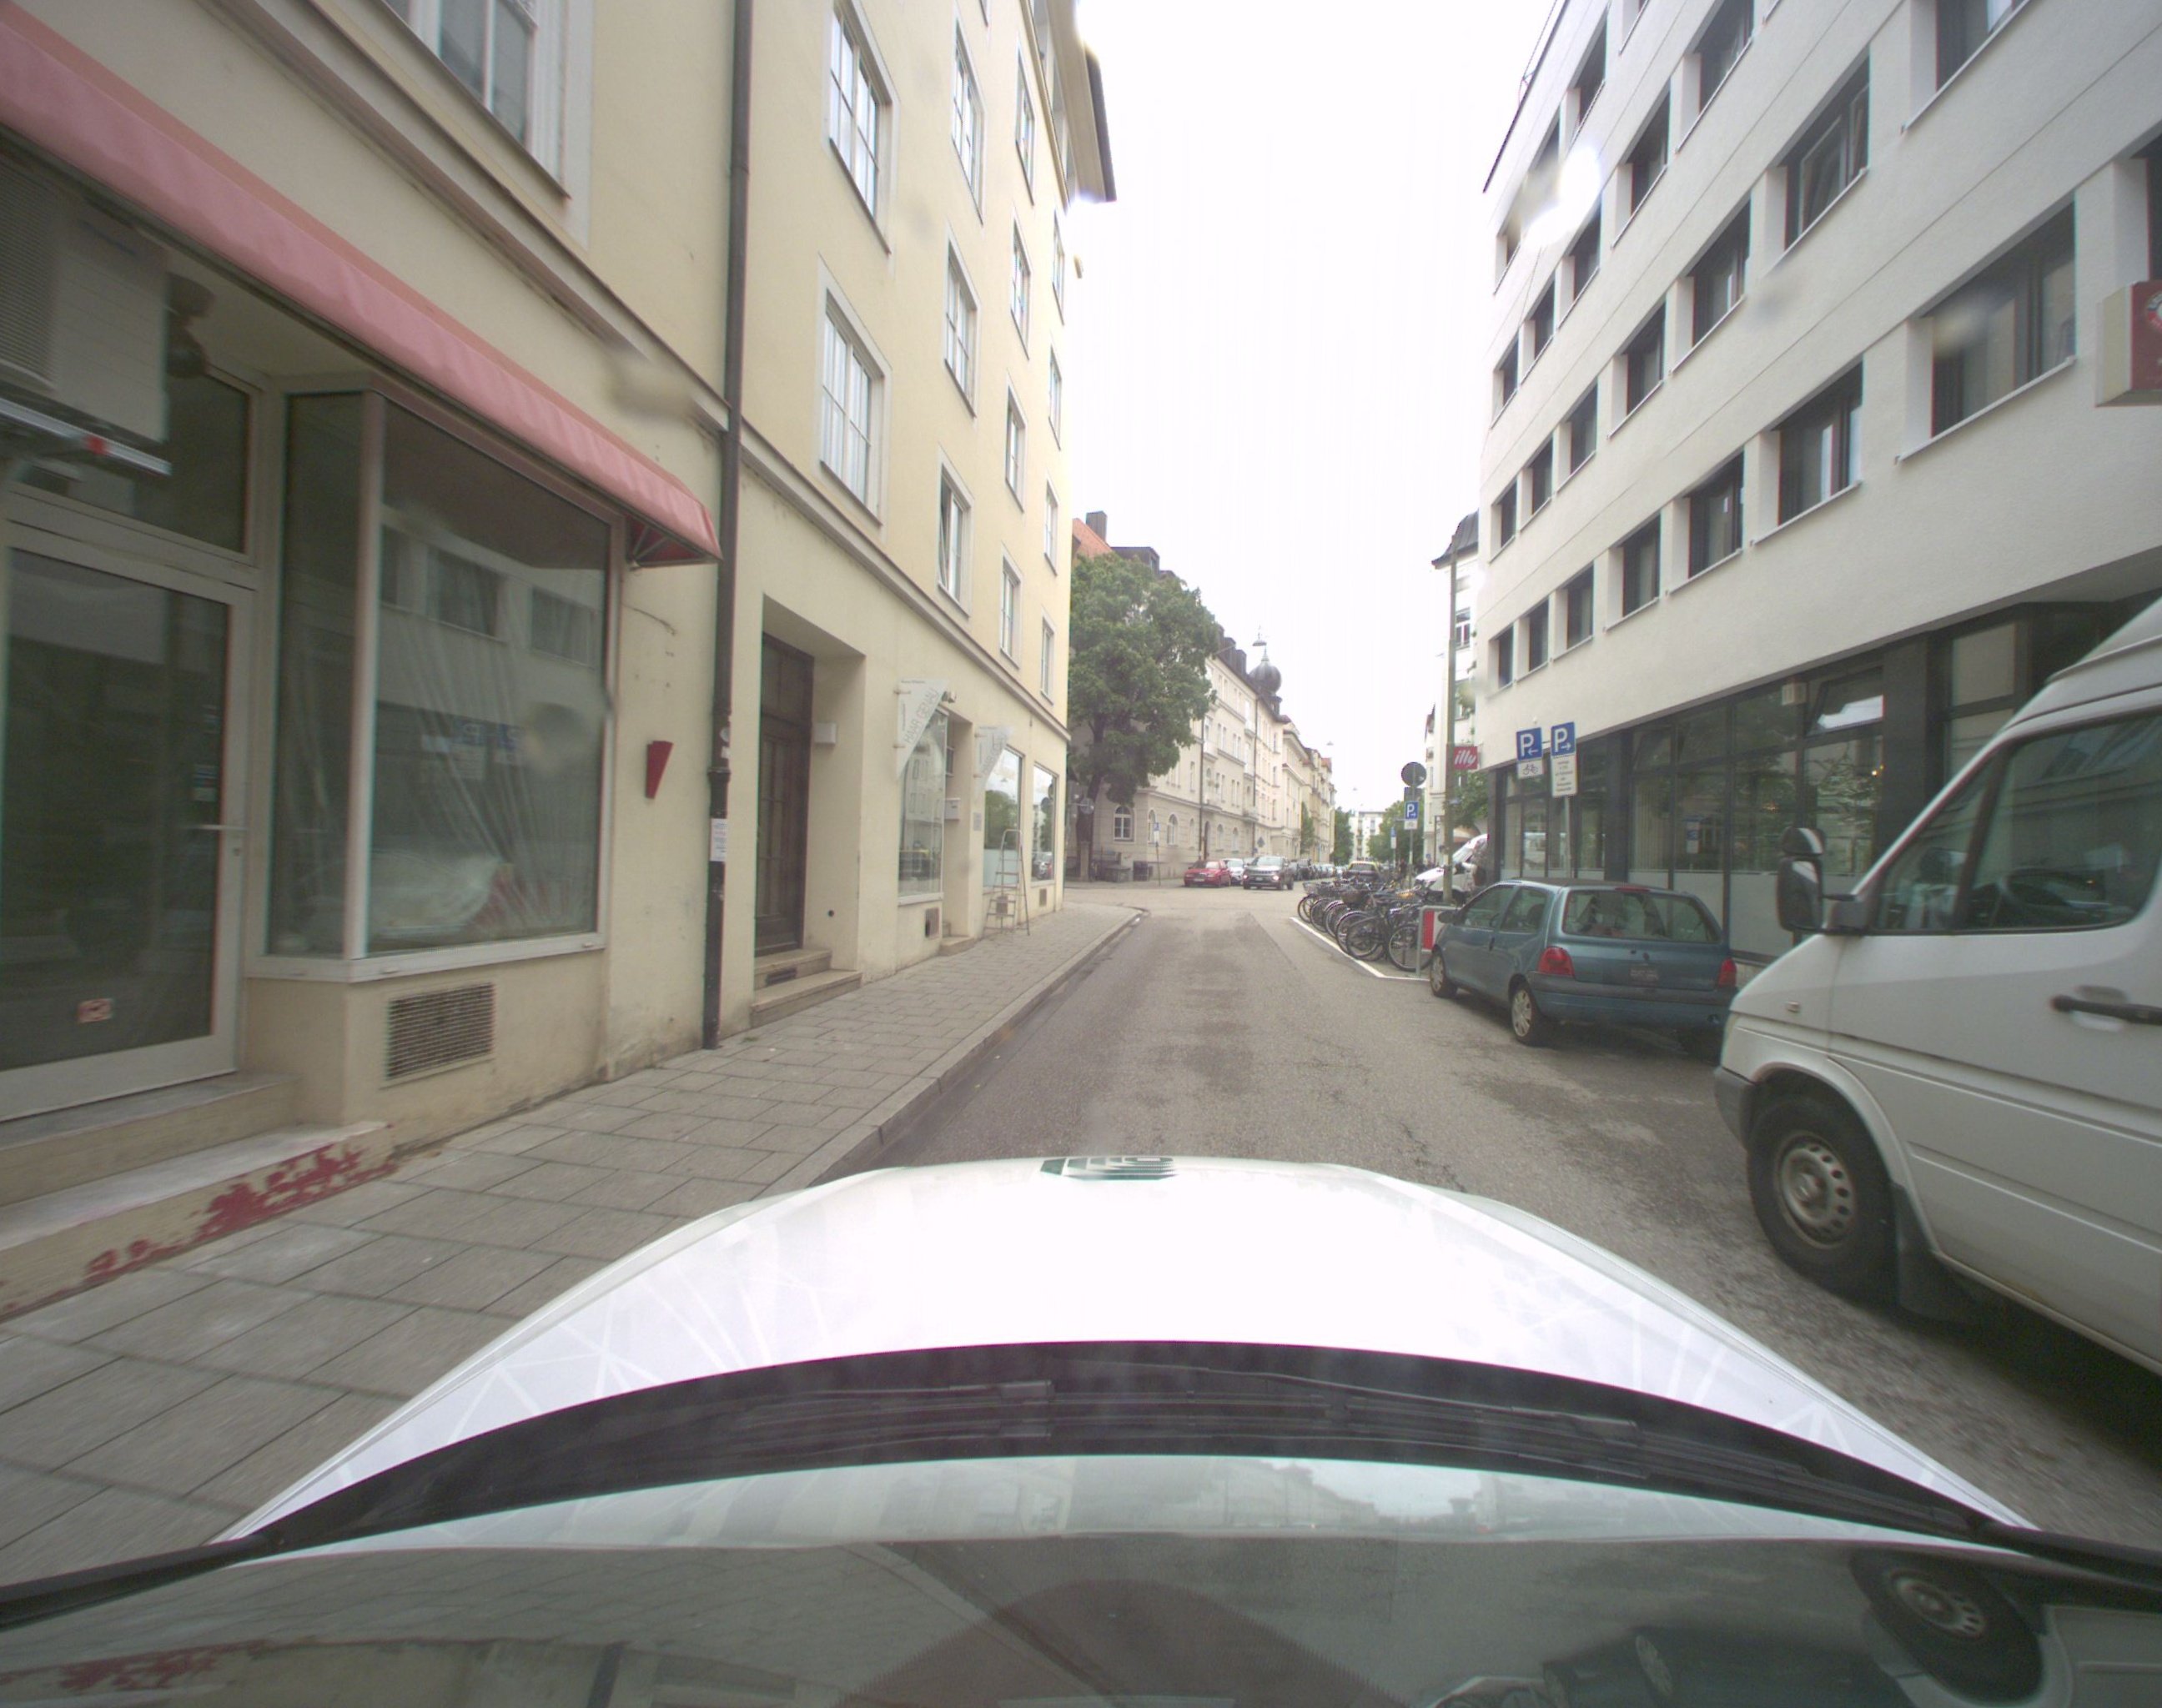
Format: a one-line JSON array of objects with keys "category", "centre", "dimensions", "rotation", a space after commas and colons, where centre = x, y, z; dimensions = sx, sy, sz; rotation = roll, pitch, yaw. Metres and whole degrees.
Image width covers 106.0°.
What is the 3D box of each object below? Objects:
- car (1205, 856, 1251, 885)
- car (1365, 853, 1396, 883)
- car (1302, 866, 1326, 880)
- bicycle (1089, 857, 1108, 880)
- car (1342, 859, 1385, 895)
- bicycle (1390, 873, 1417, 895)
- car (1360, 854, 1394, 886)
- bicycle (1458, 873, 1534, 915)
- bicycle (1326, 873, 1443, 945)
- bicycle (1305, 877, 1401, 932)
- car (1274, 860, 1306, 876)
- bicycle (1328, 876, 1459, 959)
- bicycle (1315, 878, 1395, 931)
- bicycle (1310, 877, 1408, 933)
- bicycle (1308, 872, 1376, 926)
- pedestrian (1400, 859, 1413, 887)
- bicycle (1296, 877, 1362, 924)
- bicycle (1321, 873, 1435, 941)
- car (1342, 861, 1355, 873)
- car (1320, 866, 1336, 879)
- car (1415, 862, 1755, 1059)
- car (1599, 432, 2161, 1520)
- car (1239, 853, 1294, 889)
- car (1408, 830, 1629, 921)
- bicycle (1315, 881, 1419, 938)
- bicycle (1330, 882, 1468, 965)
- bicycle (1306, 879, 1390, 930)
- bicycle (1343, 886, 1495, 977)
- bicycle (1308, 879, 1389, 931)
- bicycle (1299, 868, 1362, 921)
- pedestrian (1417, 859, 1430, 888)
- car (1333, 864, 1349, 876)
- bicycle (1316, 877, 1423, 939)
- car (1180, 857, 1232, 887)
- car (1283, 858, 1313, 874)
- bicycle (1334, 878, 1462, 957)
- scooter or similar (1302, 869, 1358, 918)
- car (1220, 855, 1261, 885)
[{"category": "car", "centre": [8.219, 0.903, 45.339], "dimensions": [1.978, 1.473, 4.237], "rotation": [2, 0, 17]}, {"category": "car", "centre": [21.021, 0.971, 57.054], "dimensions": [1.804, 1.923, 4.205], "rotation": [4, 0, 22]}, {"category": "car", "centre": [23.341, 1.891, 81.428], "dimensions": [1.890, 1.222, 4.021], "rotation": [2, 0, 21]}, {"category": "bicycle", "centre": [0.886, 0.703, 40.632], "dimensions": [0.490, 1.052, 1.834], "rotation": [2, 2, 14]}, {"category": "car", "centre": [14.918, 1.179, 42.889], "dimensions": [1.804, 1.636, 4.311], "rotation": [4, 0, 22]}, {"category": "bicycle", "centre": [15.313, 1.422, 38.715], "dimensions": [0.537, 0.999, 1.755], "rotation": [-1, 0, -1]}, {"category": "car", "centre": [19.156, 1.045, 52.616], "dimensions": [1.804, 1.870, 4.311], "rotation": [4, 0, 22]}, {"category": "bicycle", "centre": [12.195, 1.170, 23.961], "dimensions": [1.888, 1.127, 0.594], "rotation": [2, 0, 13]}, {"category": "bicycle", "centre": [5.339, 0.952, 14.399], "dimensions": [1.864, 1.204, 0.581], "rotation": [1, 0, 6]}, {"category": "bicycle", "centre": [5.793, 1.064, 17.382], "dimensions": [1.864, 1.079, 0.409], "rotation": [2, 1, 5]}, {"category": "car", "centre": [17.025, 1.126, 66.207], "dimensions": [1.890, 1.222, 4.022], "rotation": [2, 0, 23]}, {"category": "bicycle", "centre": [4.967, 0.999, 13.020], "dimensions": [1.864, 1.204, 0.489], "rotation": [2, 1, 6]}, {"category": "bicycle", "centre": [5.977, 1.091, 17.801], "dimensions": [1.605, 1.079, 0.378], "rotation": [2, 1, 5]}, {"category": "bicycle", "centre": [5.762, 1.051, 16.942], "dimensions": [1.864, 1.079, 0.403], "rotation": [2, 1, 5]}, {"category": "bicycle", "centre": [6.197, 1.066, 19.372], "dimensions": [1.446, 1.207, 0.395], "rotation": [2, 0, 1]}, {"category": "pedestrian", "centre": [21.805, 1.281, 54.532], "dimensions": [0.771, 1.851, 1.028], "rotation": [2, 0, 23]}, {"category": "bicycle", "centre": [6.029, 1.127, 19.853], "dimensions": [1.446, 1.069, 0.463], "rotation": [2, 0, 1]}, {"category": "bicycle", "centre": [5.445, 0.961, 15.020], "dimensions": [1.884, 1.170, 0.567], "rotation": [1, 0, 6]}, {"category": "car", "centre": [44.301, 2.129, 134.684], "dimensions": [1.830, 2.014, 4.020], "rotation": [2, 0, 20]}, {"category": "car", "centre": [29.691, 2.178, 97.872], "dimensions": [1.719, 1.420, 4.019], "rotation": [2, 0, 19]}, {"category": "car", "centre": [4.685, 0.850, 8.195], "dimensions": [1.572, 1.464, 3.559], "rotation": [2, 0, 7]}, {"category": "car", "centre": [3.382, 0.295, 1.301], "dimensions": [1.910, 2.506, 6.010], "rotation": [3, 0, 8]}, {"category": "car", "centre": [8.969, 0.796, 39.149], "dimensions": [1.941, 1.607, 4.331], "rotation": [1, 0, 21]}, {"category": "car", "centre": [13.824, 0.613, 26.145], "dimensions": [5.852, 2.591, 2.067], "rotation": [2, 1, 13]}, {"category": "bicycle", "centre": [5.692, 1.103, 16.244], "dimensions": [1.864, 1.052, 0.565], "rotation": [2, -2, 5]}, {"category": "bicycle", "centre": [4.858, 1.049, 12.509], "dimensions": [1.864, 1.108, 0.489], "rotation": [3, 1, 6]}, {"category": "bicycle", "centre": [6.086, 1.139, 18.594], "dimensions": [1.732, 1.079, 0.453], "rotation": [2, 1, 5]}, {"category": "bicycle", "centre": [4.732, 1.076, 11.493], "dimensions": [1.864, 1.079, 0.489], "rotation": [4, 1, 6]}, {"category": "bicycle", "centre": [5.967, 1.132, 18.192], "dimensions": [1.666, 1.079, 0.336], "rotation": [2, 1, 5]}, {"category": "bicycle", "centre": [6.371, 1.026, 20.827], "dimensions": [1.448, 1.285, 0.446], "rotation": [2, 0, 10]}, {"category": "pedestrian", "centre": [22.582, 1.278, 53.682], "dimensions": [0.771, 1.851, 1.028], "rotation": [2, 0, 23]}, {"category": "car", "centre": [37.532, 2.304, 117.487], "dimensions": [1.977, 1.574, 4.019], "rotation": [2, 0, 20]}, {"category": "bicycle", "centre": [5.490, 1.025, 15.563], "dimensions": [1.864, 1.095, 0.440], "rotation": [2, 1, 5]}, {"category": "car", "centre": [6.349, 0.909, 41.003], "dimensions": [1.716, 1.378, 4.248], "rotation": [2, 0, 21]}, {"category": "car", "centre": [18.800, 1.045, 70.550], "dimensions": [1.890, 1.329, 4.022], "rotation": [2, 0, 23]}, {"category": "bicycle", "centre": [5.291, 1.049, 13.664], "dimensions": [1.864, 1.157, 0.566], "rotation": [3, 1, 6]}, {"category": "scooter or similar", "centre": [6.593, 1.040, 21.602], "dimensions": [1.344, 1.210, 0.419], "rotation": [2, 0, 10]}, {"category": "car", "centre": [9.897, 0.964, 50.382], "dimensions": [1.927, 1.702, 4.019], "rotation": [2, 0, 19]}]
